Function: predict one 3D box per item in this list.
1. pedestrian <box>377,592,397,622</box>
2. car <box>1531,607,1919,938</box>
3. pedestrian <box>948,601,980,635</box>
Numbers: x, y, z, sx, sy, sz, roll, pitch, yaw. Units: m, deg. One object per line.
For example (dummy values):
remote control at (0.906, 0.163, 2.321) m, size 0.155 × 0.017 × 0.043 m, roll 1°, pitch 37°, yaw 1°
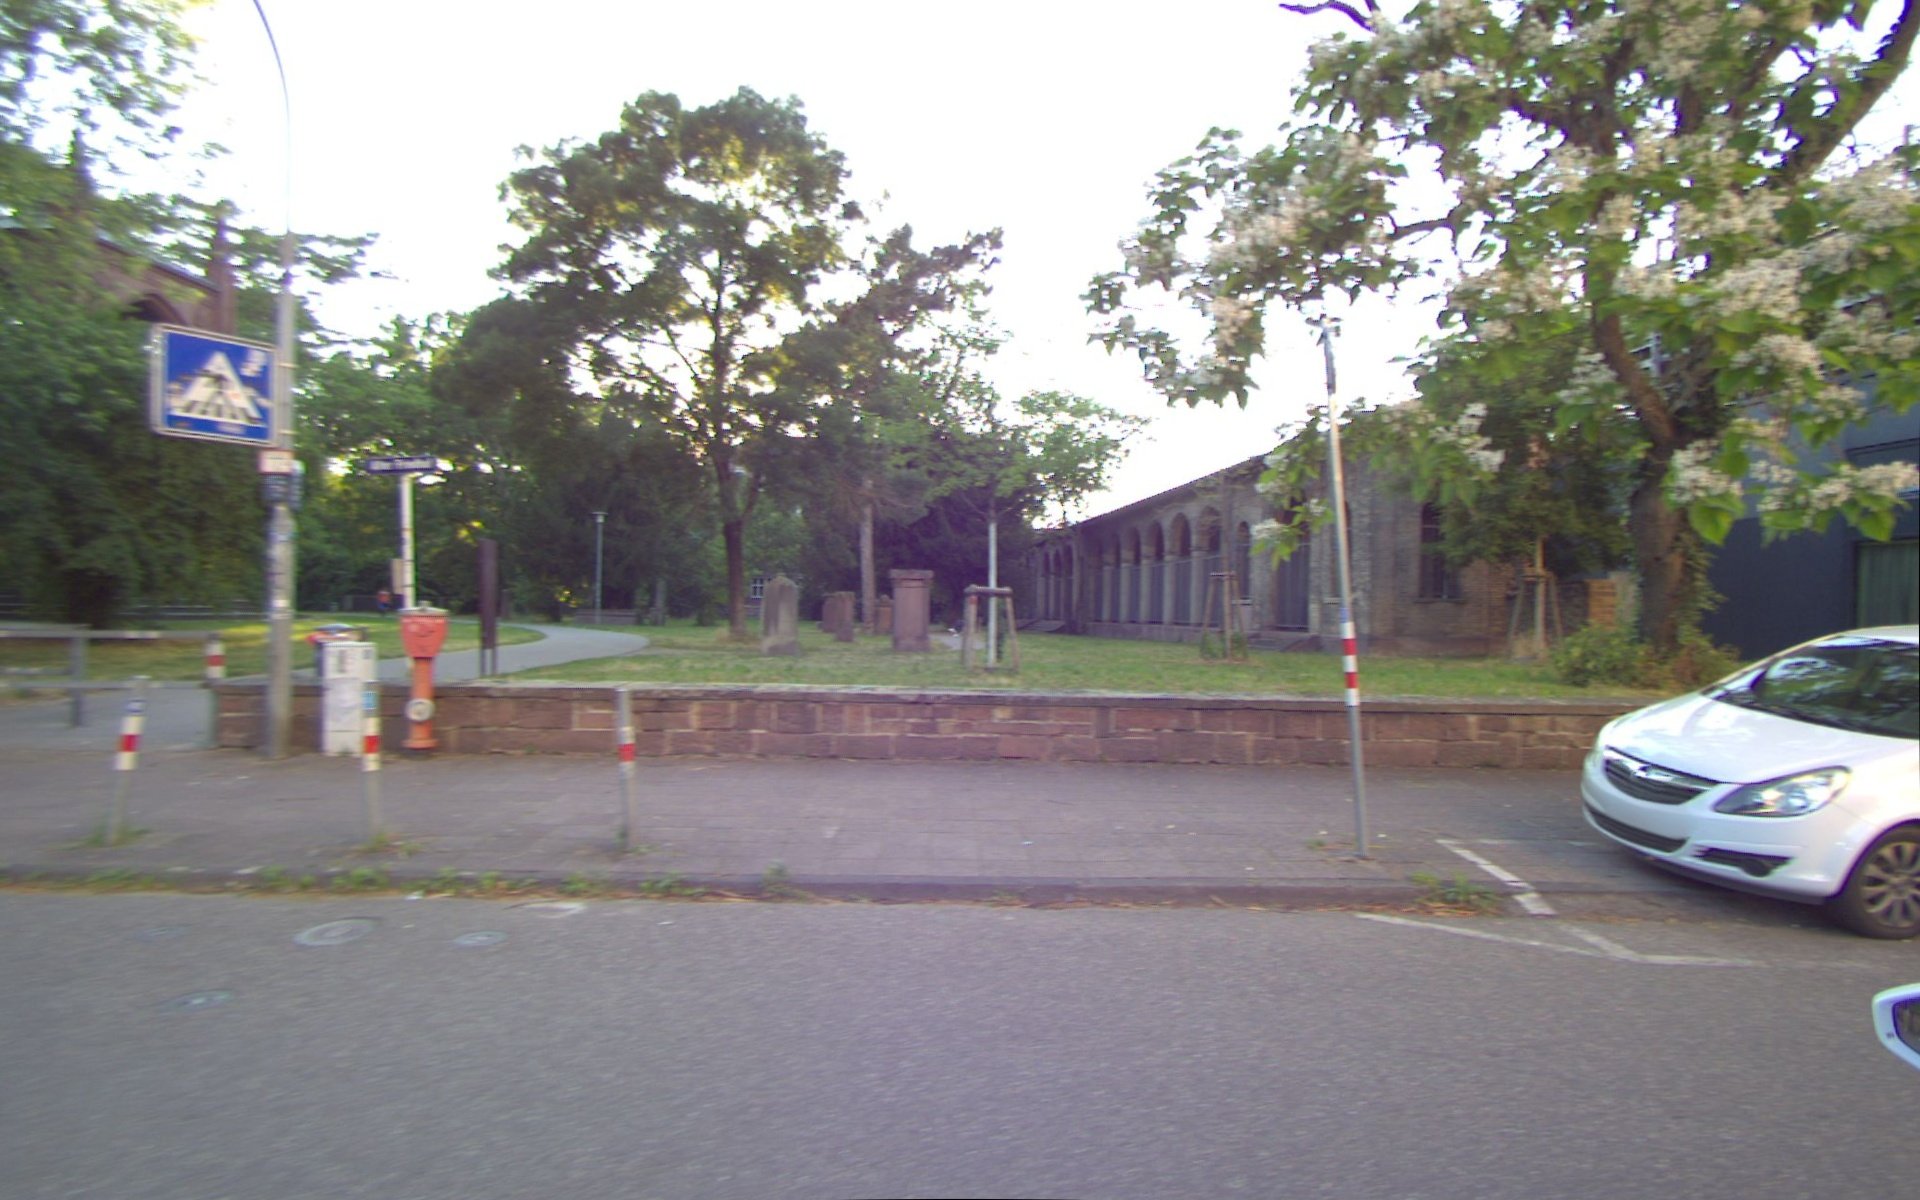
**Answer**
pedestrian at (-32.959, 0.408, 57.793) m, size 0.653 × 1.691 × 0.668 m, roll 2°, pitch 0°, yaw 17°
car at (5.718, 0.860, 5.938) m, size 3.812 × 1.535 × 1.664 m, roll 0°, pitch 2°, yaw -8°
pedestrian at (0.193, 0.768, 42.668) m, size 1.256 × 1.445 × 1.238 m, roll 0°, pitch -1°, yaw 4°
